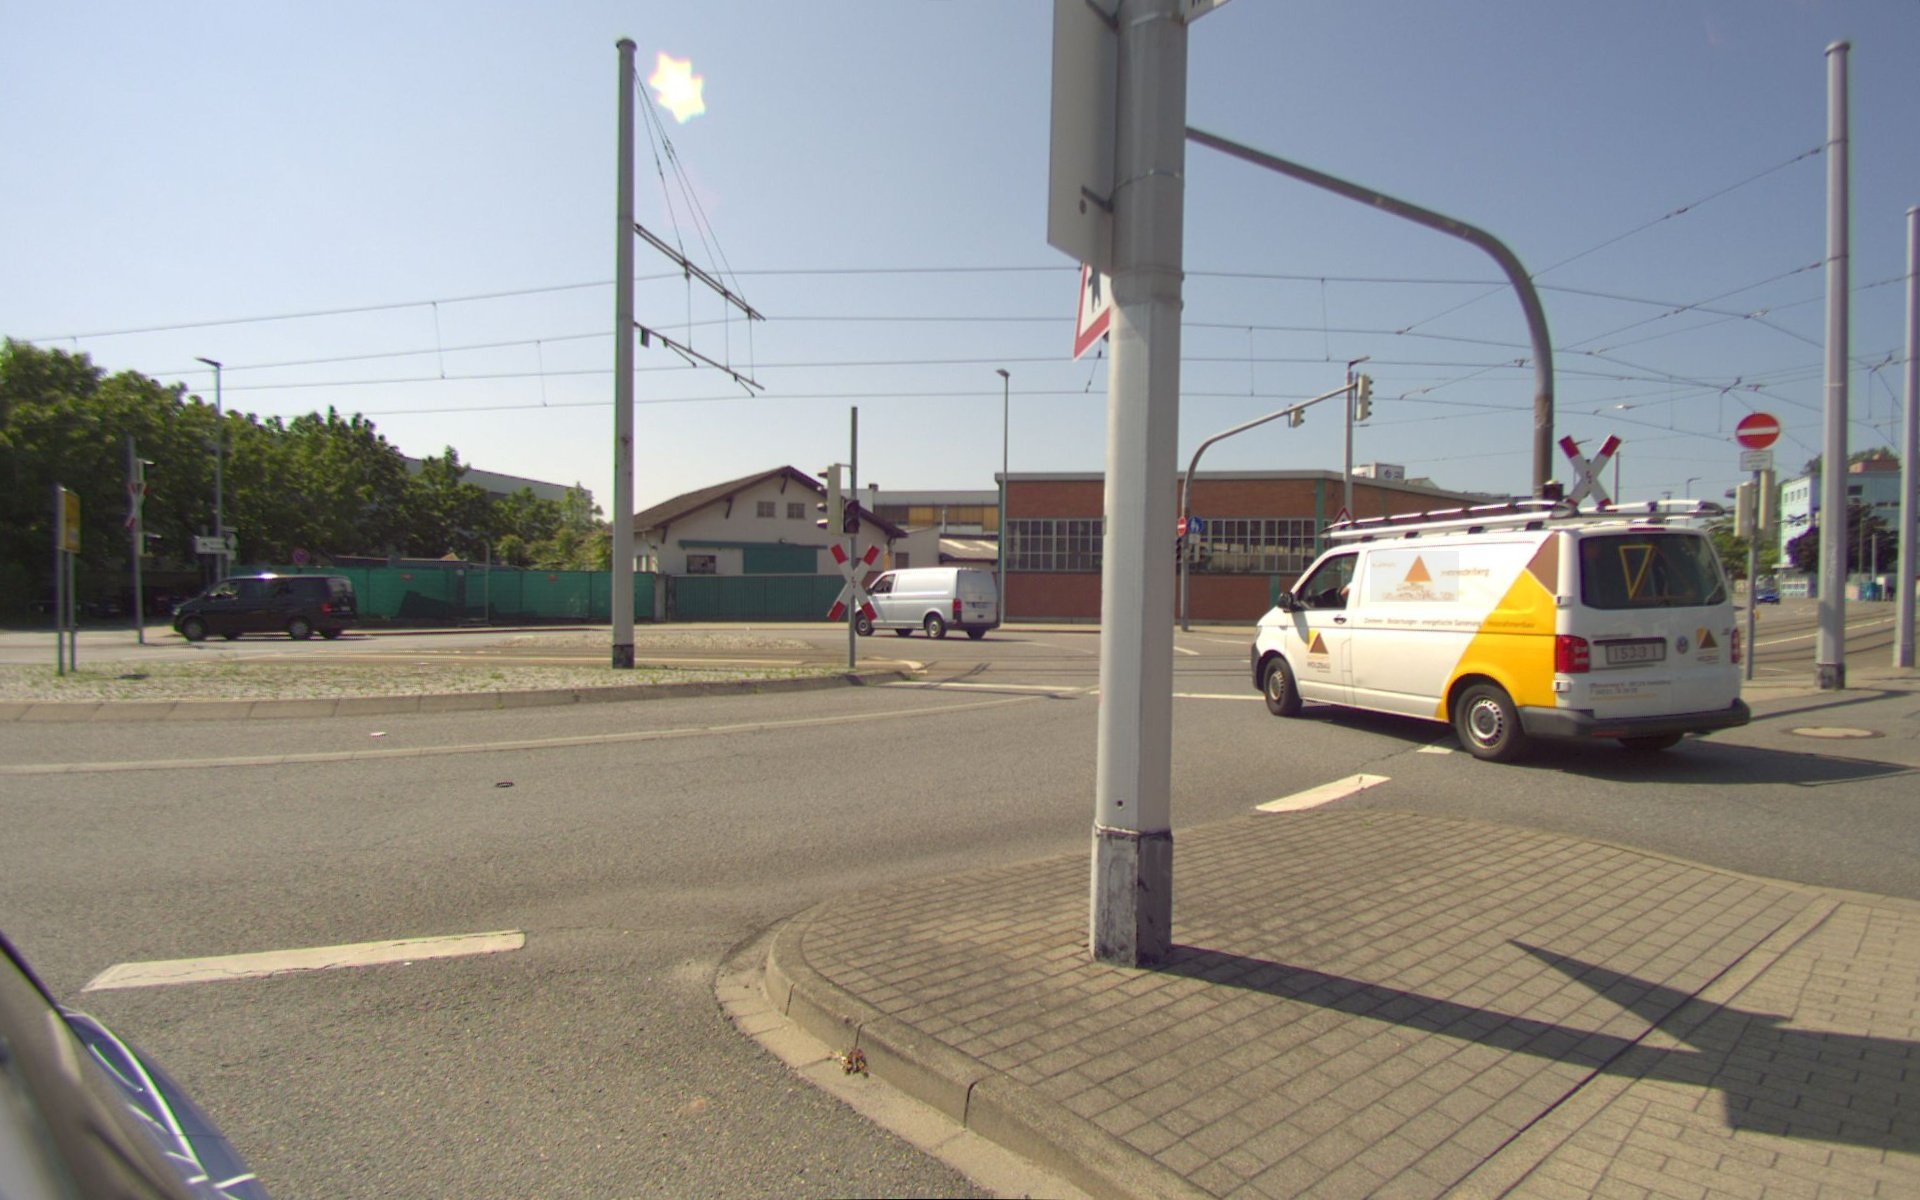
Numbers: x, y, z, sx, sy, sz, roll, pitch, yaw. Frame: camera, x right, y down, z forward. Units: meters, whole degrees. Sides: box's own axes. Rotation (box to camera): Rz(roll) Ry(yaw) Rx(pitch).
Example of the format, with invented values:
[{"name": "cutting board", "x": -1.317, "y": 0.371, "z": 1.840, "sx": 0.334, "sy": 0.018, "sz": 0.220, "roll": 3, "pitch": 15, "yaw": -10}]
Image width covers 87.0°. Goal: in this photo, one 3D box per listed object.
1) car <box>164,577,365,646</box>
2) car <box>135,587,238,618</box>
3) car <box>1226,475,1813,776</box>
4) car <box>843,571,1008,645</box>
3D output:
[{"name": "car", "x": -21.022, "y": 0.321, "z": 30.765, "sx": 4.566, "sy": 1.925, "sz": 2.101, "roll": -1, "pitch": 0, "yaw": -7}, {"name": "car", "x": -39.012, "y": 0.112, "z": 51.154, "sx": 3.802, "sy": 1.478, "sz": 1.630, "roll": 0, "pitch": 0, "yaw": -14}, {"name": "car", "x": 4.819, "y": 0.174, "z": 9.810, "sx": 1.993, "sy": 2.130, "sz": 4.949, "roll": -1, "pitch": 0, "yaw": -17}, {"name": "car", "x": -1.073, "y": 0.169, "z": 28.885, "sx": 4.831, "sy": 1.950, "sz": 1.905, "roll": 1, "pitch": 1, "yaw": 45}]
